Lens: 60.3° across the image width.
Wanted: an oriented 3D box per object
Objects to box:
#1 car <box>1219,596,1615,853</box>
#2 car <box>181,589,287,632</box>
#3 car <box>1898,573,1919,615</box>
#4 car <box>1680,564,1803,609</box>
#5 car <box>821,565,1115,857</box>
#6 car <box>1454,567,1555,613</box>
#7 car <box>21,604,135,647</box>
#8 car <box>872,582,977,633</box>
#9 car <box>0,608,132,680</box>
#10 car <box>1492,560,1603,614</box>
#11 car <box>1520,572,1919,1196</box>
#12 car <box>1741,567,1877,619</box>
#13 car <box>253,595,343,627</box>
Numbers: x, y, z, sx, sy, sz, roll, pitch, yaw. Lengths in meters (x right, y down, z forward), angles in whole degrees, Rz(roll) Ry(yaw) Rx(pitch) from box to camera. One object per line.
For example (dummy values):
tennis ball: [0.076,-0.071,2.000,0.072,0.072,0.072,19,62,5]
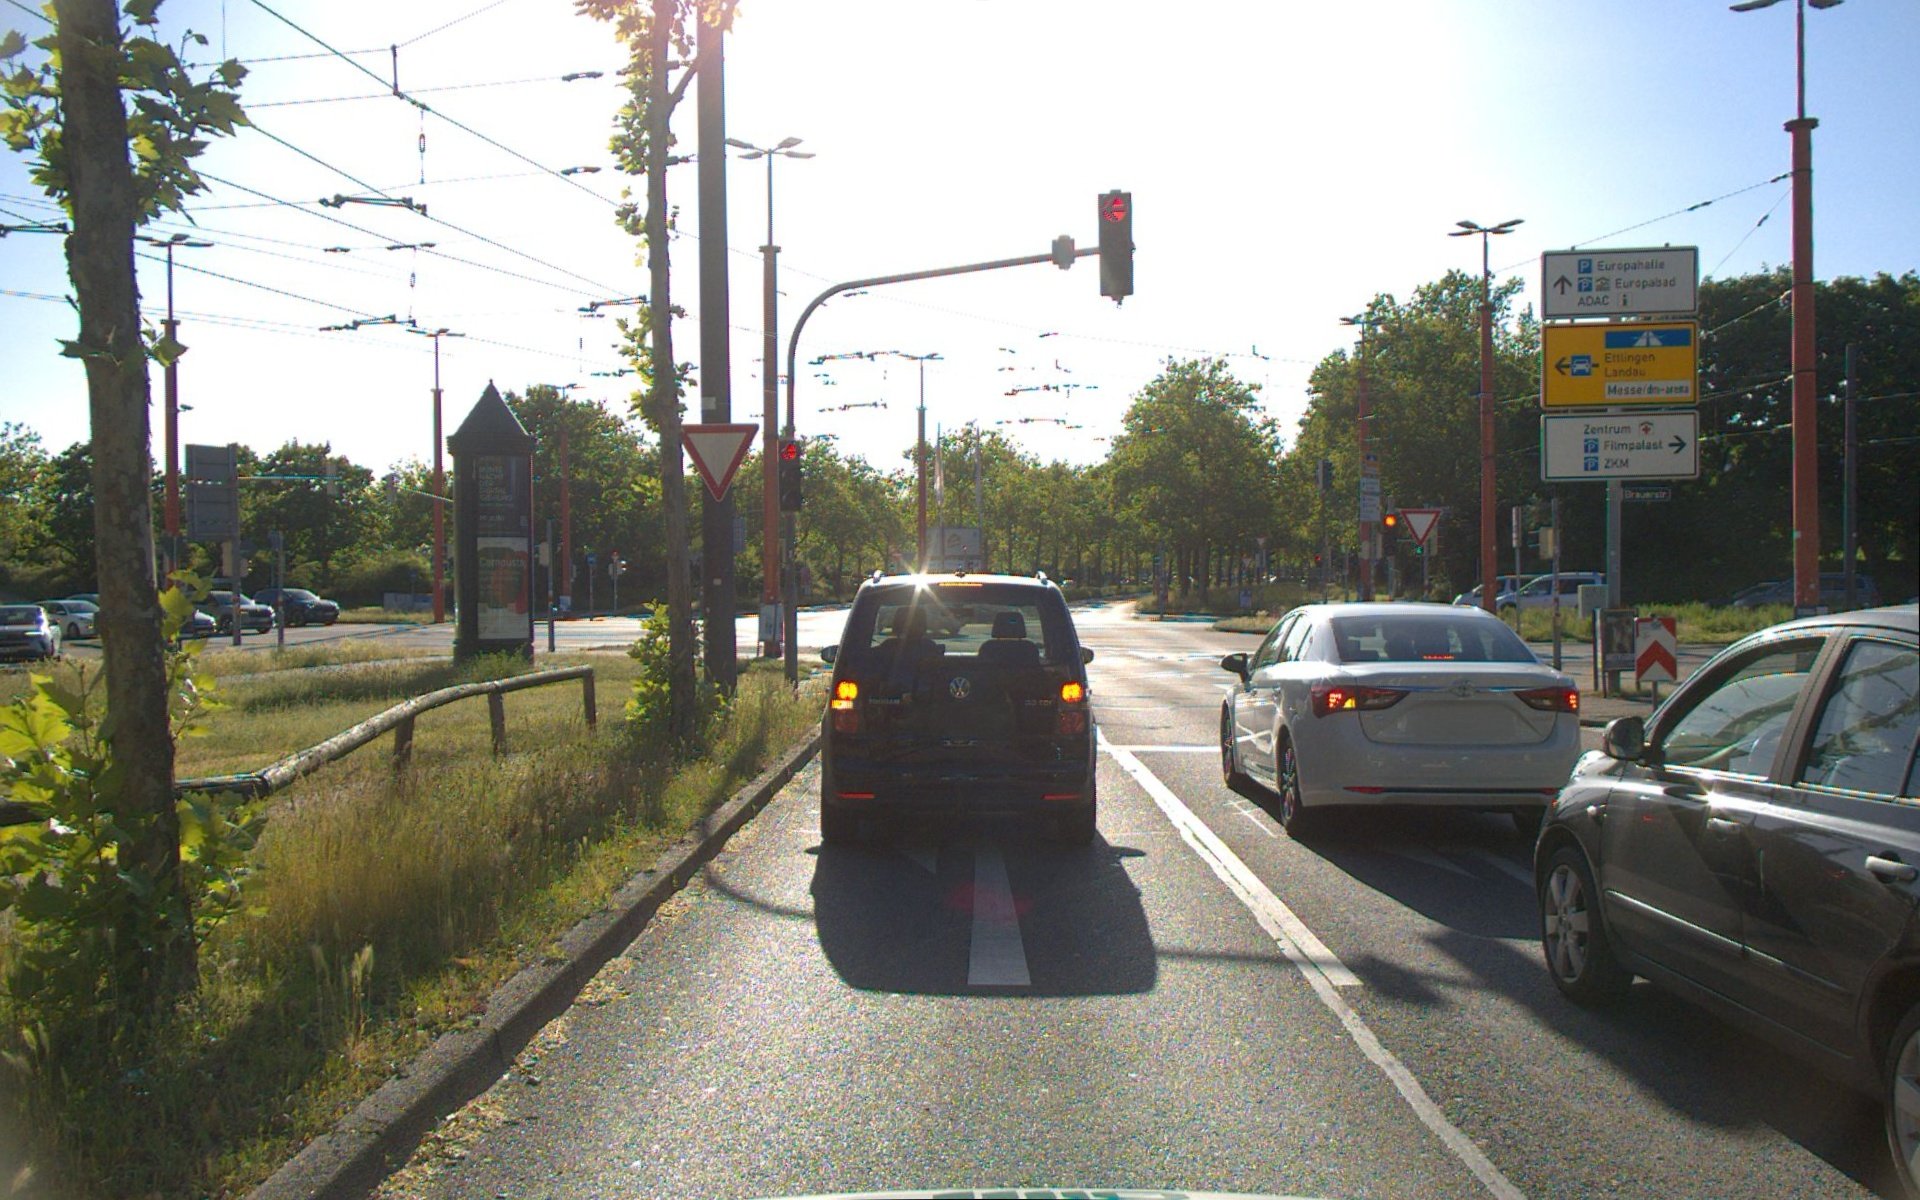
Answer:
car: [2.978,0.714,11.683,1.685,1.463,4.198,1,0,1]
car: [-28.873,0.389,65.742,3.913,1.673,1.996,0,0,31]
car: [34.863,-0.173,57.438,3.887,1.466,1.685,1,0,27]
car: [28.709,-0.495,60.828,4.040,1.537,1.821,1,0,26]
car: [0.014,0.616,11.329,1.666,1.650,3.896,0,0,-1]
car: [21.282,-0.389,64.672,3.570,1.684,1.679,1,0,25]
car: [-34.552,0.980,64.760,4.091,1.640,1.867,0,0,25]
car: [-1.264,0.241,57.038,1.780,1.685,4.068,0,0,-32]
car: [-21.489,0.998,39.045,1.769,1.549,4.329,0,0,-1]
car: [21.665,-0.480,60.981,3.754,1.923,1.763,1,0,23]
car: [3.168,0.701,5.128,1.620,1.526,3.614,1,0,0]
car: [29.186,-0.244,56.991,4.097,1.673,1.758,1,0,26]
car: [-29.269,0.462,73.120,3.913,1.353,1.694,0,0,31]
